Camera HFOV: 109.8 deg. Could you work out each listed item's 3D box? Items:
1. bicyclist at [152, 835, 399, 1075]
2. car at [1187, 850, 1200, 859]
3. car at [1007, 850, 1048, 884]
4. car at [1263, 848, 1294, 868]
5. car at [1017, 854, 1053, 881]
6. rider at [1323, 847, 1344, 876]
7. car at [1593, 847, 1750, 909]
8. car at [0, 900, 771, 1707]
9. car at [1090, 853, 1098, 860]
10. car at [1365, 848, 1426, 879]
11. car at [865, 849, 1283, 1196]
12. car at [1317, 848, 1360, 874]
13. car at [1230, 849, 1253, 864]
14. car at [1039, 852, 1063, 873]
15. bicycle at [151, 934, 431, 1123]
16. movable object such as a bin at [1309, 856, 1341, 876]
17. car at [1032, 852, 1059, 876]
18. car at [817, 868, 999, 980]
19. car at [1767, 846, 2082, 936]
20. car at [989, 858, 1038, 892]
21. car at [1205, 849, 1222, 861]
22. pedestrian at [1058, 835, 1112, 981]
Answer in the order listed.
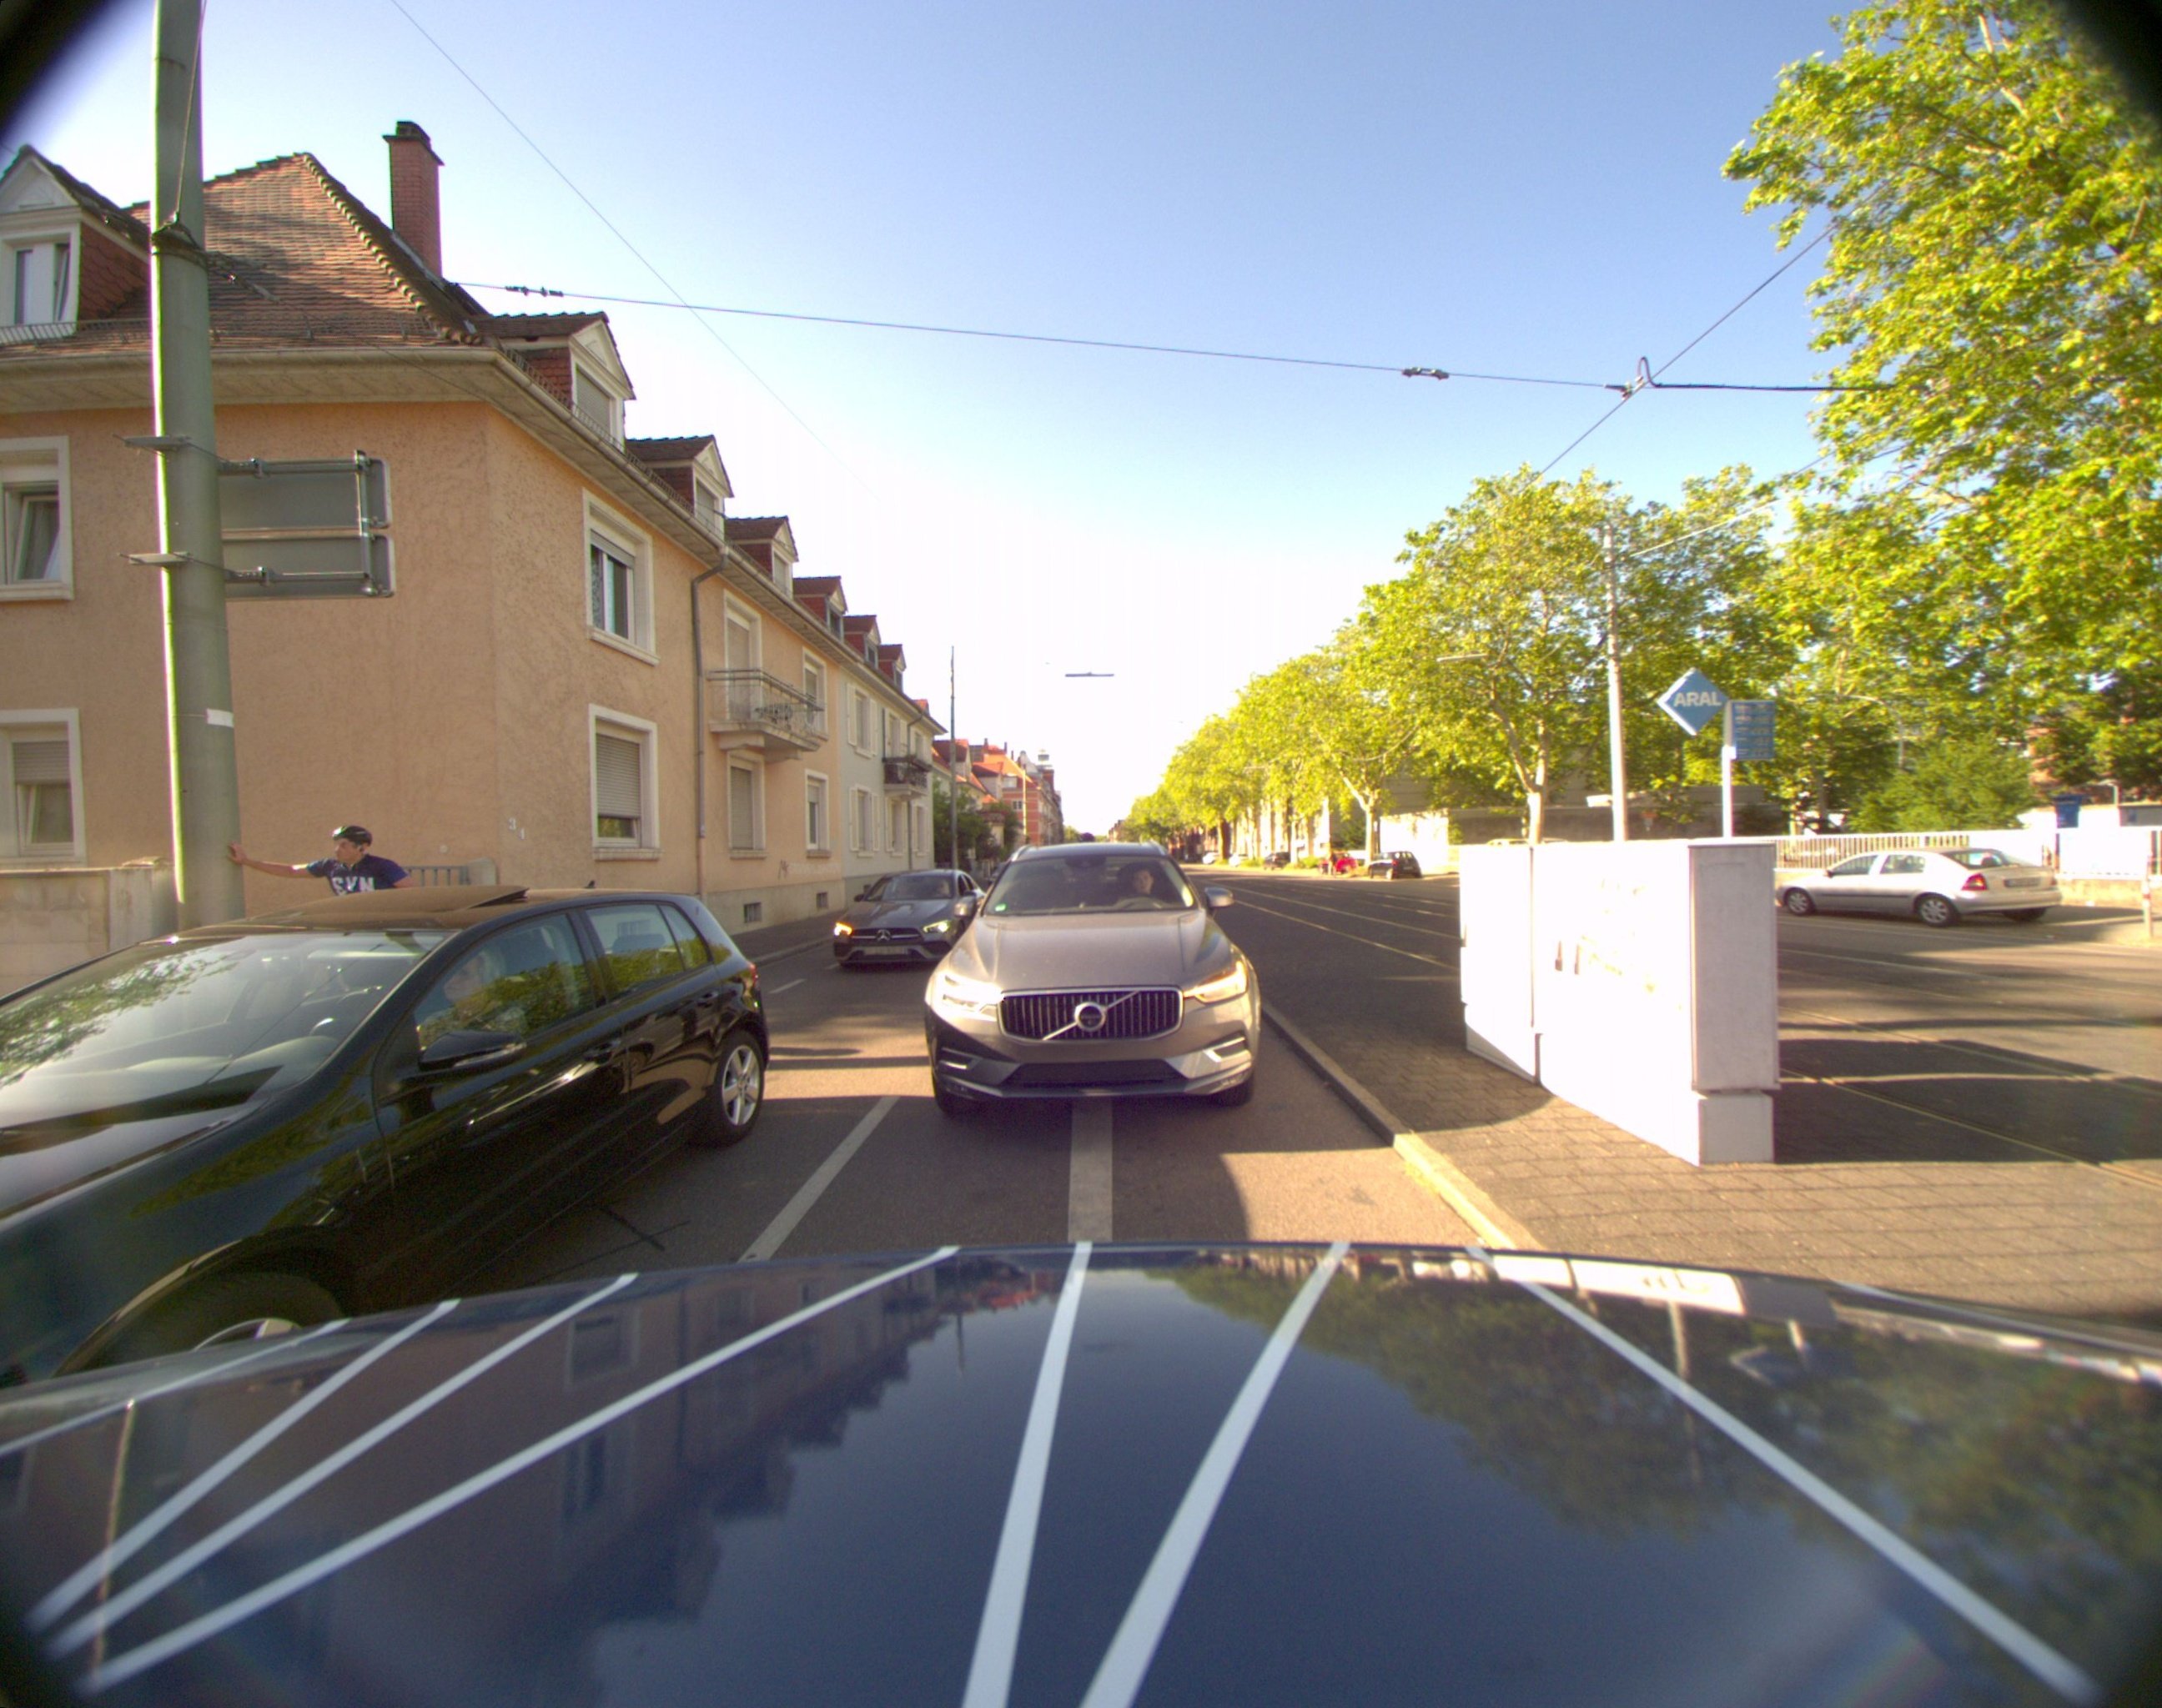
[{"bbox_3d":[-6.064,0.730,5.784,1.021,1.684,0.729,2,0,-7],"label":"bicyclist"},{"bbox_3d":[18.548,0.065,125.558,1.661,1.452,3.730,-5,1,3],"label":"car"},{"bbox_3d":[-2.913,0.693,42.394,1.825,1.701,4.334,-2,1,1],"label":"car"},{"bbox_3d":[17.103,0.334,65.968,1.754,1.582,3.878,-5,1,3],"label":"car"},{"bbox_3d":[-2.793,0.801,47.144,1.825,1.424,4.334,-2,1,1],"label":"car"},{"bbox_3d":[14.555,0.428,43.825,0.725,1.639,1.106,-2,1,-4],"label":"rider"},{"bbox_3d":[16.351,0.604,21.268,1.619,1.436,3.606,-5,1,3],"label":"car"},{"bbox_3d":[-2.787,1.046,2.608,1.717,1.430,3.990,-2,1,1],"label":"car"},{"bbox_3d":[3.310,0.576,190.597,1.851,1.640,3.999,-2,1,1],"label":"car"},{"bbox_3d":[16.831,0.450,40.825,1.723,1.436,3.769,-5,1,3],"label":"car"},{"bbox_3d":[0.116,0.801,5.778,1.924,1.579,4.387,-2,1,4],"label":"car"},{"bbox_3d":[16.909,0.424,50.024,1.661,1.486,3.377,-5,1,3],"label":"car"},{"bbox_3d":[17.614,0.250,83.467,1.754,1.532,3.878,-5,1,3],"label":"car"},{"bbox_3d":[-2.600,0.700,67.279,1.825,1.701,4.334,-2,1,1],"label":"car"},{"bbox_3d":[-5.892,1.238,5.815,0.556,1.069,1.624,2,0,-7],"label":"bicycle"},{"bbox_3d":[14.523,0.676,45.287,1.178,1.097,1.834,-2,1,-4],"label":"movable object such as a bin"},{"bbox_3d":[-2.788,0.778,60.913,1.825,1.701,4.334,-2,1,1],"label":"car"},{"bbox_3d":[-2.578,0.989,12.514,1.825,1.422,4.491,-2,-1,1],"label":"car"},{"bbox_3d":[16.194,0.631,14.953,1.687,1.358,3.989,-6,0,1],"label":"car"},{"bbox_3d":[-3.236,0.967,37.139,1.825,1.422,4.334,-2,1,1],"label":"car"},{"bbox_3d":[17.568,0.107,100.682,1.661,1.452,3.730,-5,1,3],"label":"car"},{"bbox_3d":[0.058,0.678,9.885,0.609,1.832,0.599,-2,1,1],"label":"pedestrian"}]
